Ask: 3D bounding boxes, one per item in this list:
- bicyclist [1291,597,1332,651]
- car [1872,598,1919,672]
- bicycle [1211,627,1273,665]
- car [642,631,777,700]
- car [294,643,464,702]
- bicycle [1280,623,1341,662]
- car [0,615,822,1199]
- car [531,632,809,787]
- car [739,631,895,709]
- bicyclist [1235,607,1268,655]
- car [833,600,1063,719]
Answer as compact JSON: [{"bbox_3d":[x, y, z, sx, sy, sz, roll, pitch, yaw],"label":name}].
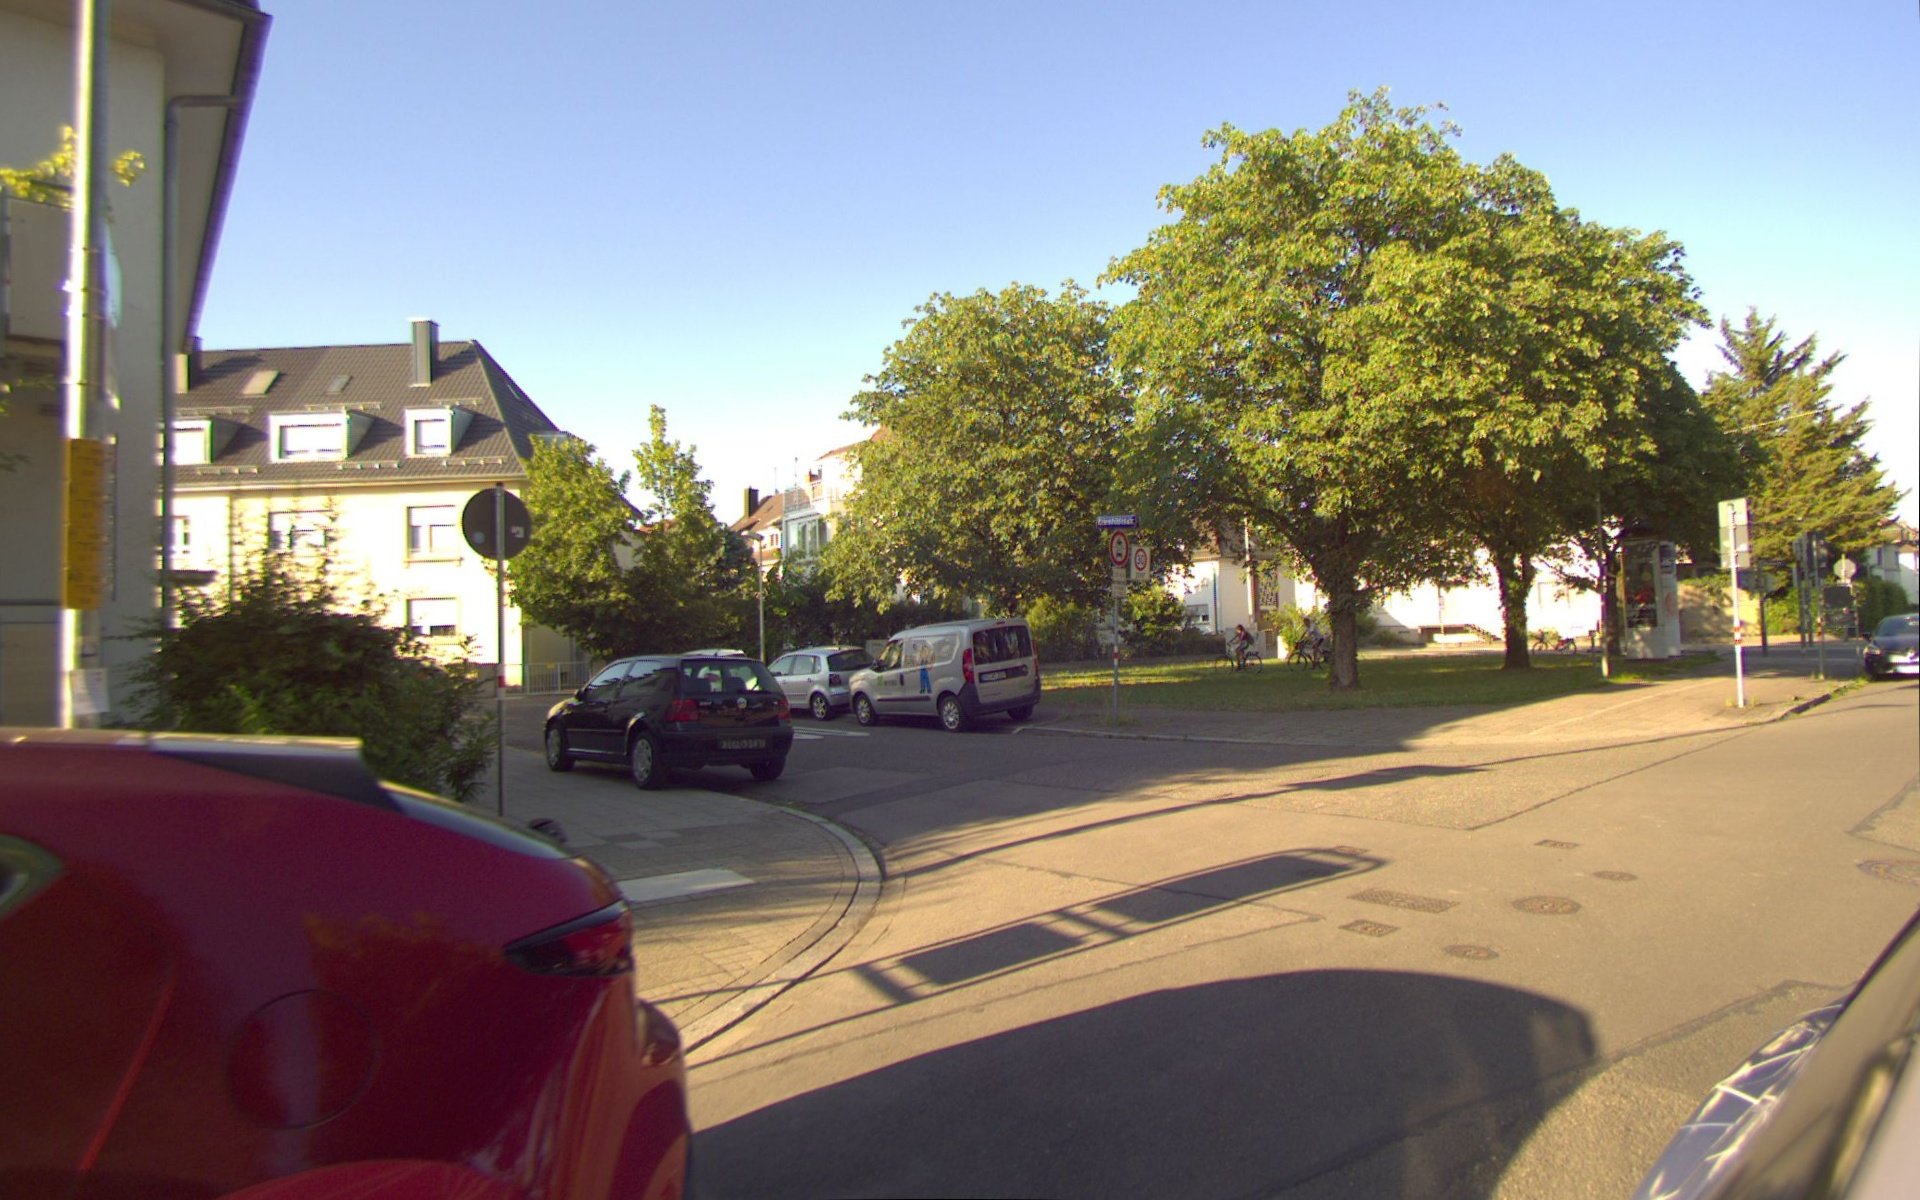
[{"bbox_3d":[11.989,0.821,34.544,0.875,1.755,0.818,-3,-3,-15],"label":"bicyclist"},{"bbox_3d":[22.474,0.725,23.346,4.466,1.530,1.726,-1,-4,-44],"label":"car"},{"bbox_3d":[9.571,1.562,34.383,1.925,1.199,0.493,-2,0,-3],"label":"bicycle"},{"bbox_3d":[-6.409,1.678,25.643,1.499,1.543,3.921,-2,-2,-45],"label":"car"},{"bbox_3d":[-17.190,2.118,30.093,3.925,1.572,1.999,-1,-2,1],"label":"car"},{"bbox_3d":[11.947,1.460,34.506,1.866,1.199,0.575,-3,-4,-14],"label":"bicycle"},{"bbox_3d":[-2.344,0.822,0.924,4.129,1.377,1.712,-1,-4,-41],"label":"car"},{"bbox_3d":[-3.612,1.209,12.136,1.686,1.465,3.992,-1,-2,-40],"label":"car"},{"bbox_3d":[-3.219,1.535,22.422,3.553,1.535,1.580,-4,-2,45],"label":"car"},{"bbox_3d":[9.897,1.043,34.416,0.876,1.582,0.715,-1,0,-3],"label":"bicyclist"},{"bbox_3d":[-0.342,1.084,18.827,1.995,1.899,4.249,-2,-2,-39],"label":"car"}]
